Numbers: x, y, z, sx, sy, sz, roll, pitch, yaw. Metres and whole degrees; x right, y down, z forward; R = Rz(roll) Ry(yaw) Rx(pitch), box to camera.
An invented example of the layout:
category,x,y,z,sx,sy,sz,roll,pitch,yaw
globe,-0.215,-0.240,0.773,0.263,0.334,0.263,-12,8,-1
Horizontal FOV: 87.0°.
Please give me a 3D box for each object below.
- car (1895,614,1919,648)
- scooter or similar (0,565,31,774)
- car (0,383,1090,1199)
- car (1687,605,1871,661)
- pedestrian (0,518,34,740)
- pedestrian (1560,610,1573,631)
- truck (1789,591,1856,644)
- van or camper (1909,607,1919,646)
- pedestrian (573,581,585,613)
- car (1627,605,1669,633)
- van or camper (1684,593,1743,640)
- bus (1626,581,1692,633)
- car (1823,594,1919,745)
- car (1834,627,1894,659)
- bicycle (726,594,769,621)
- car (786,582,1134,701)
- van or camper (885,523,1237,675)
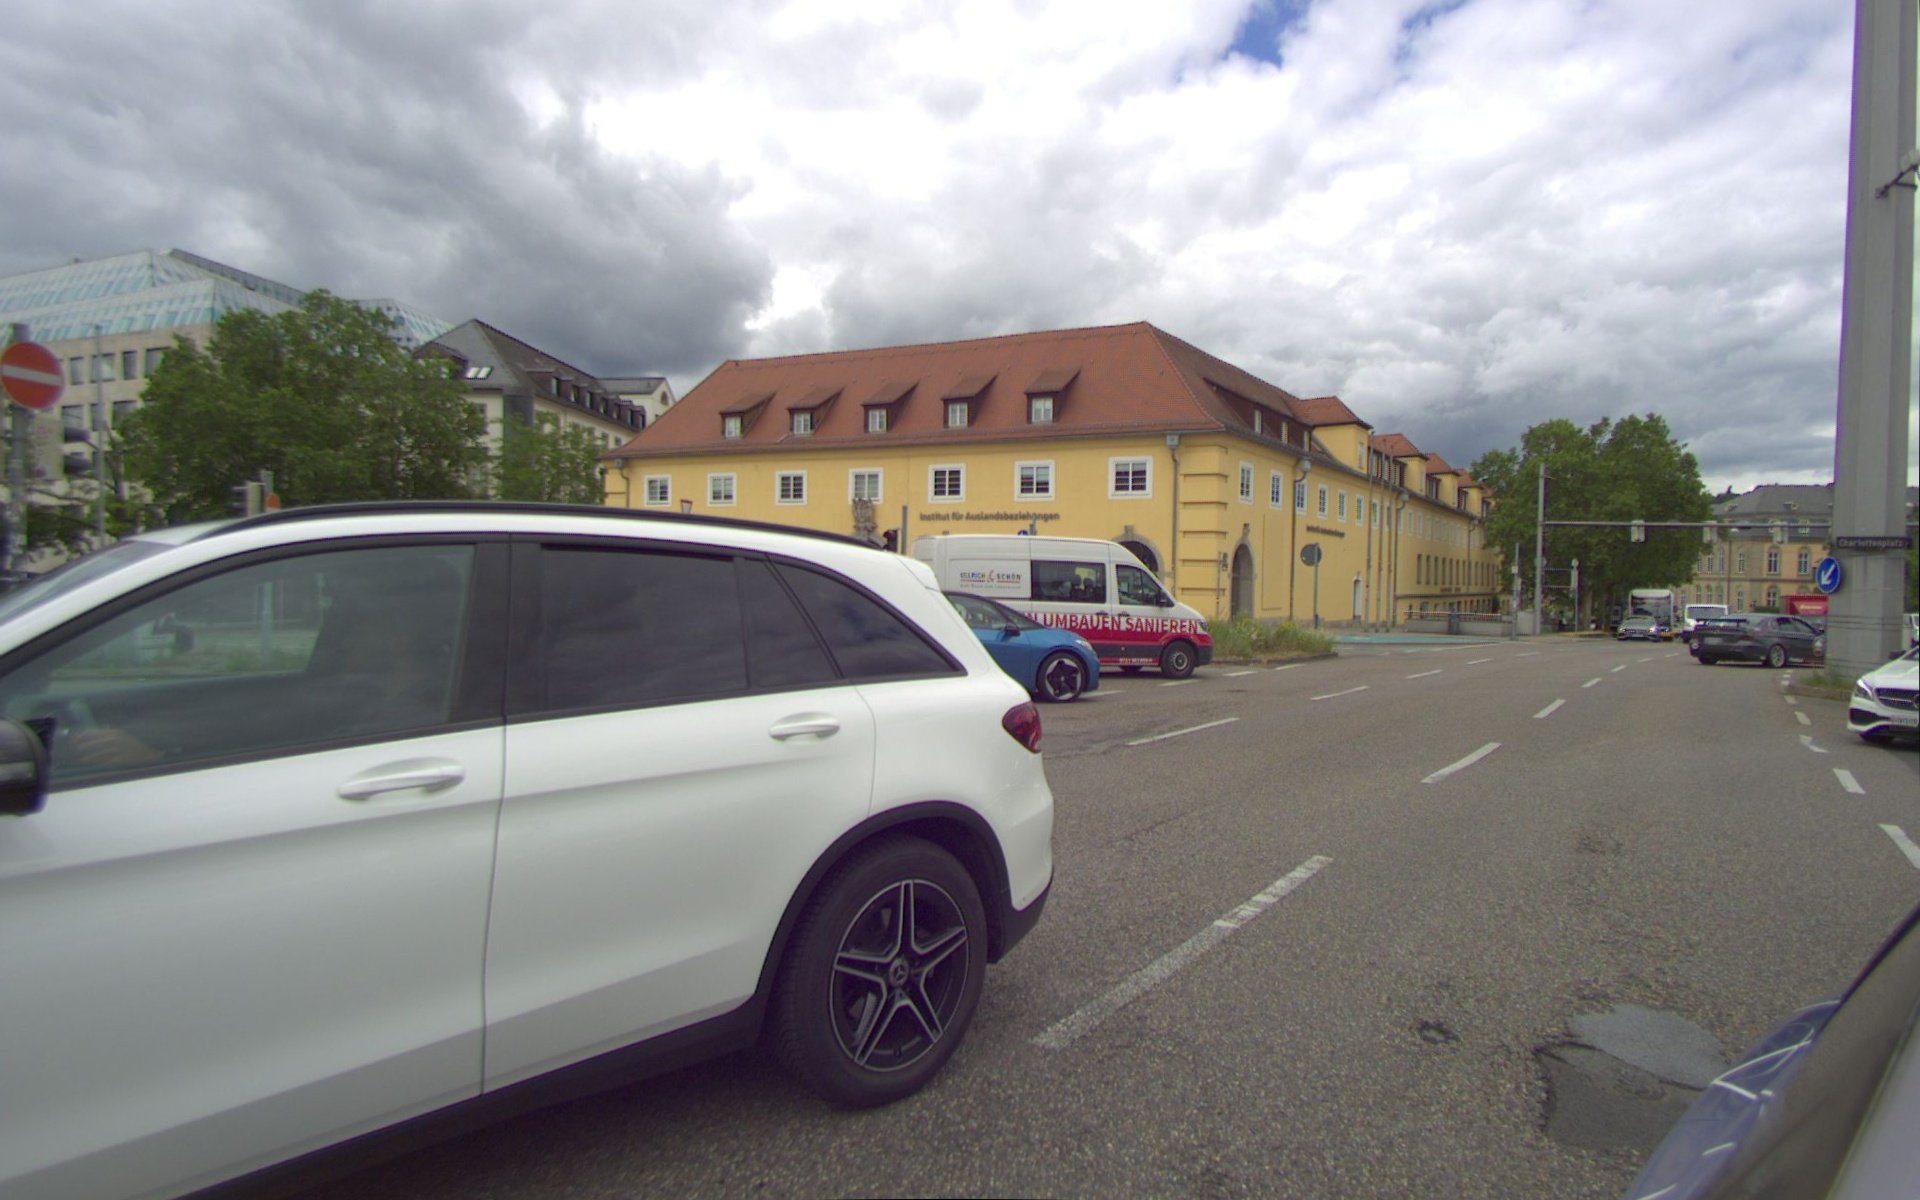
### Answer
category,x,y,z,sx,sy,sz,roll,pitch,yaw
car,52.910,1.715,55.382,1.988,1.776,3.909,3,1,36
scooter or similar,-6.889,0.477,6.151,0.762,1.424,1.889,1,0,-1
car,-1.798,0.472,2.455,4.259,1.667,1.805,2,1,-42
car,21.192,0.838,26.189,4.320,1.350,1.762,1,0,-21
pedestrian,-8.821,0.254,8.986,0.598,1.979,0.643,1,0,-6
pedestrian,41.082,1.376,68.510,0.677,1.397,0.572,3,1,34
truck,61.803,1.211,72.692,2.775,3.533,8.243,3,1,35
van or camper,49.774,1.387,51.246,1.855,1.940,4.653,2,1,36
pedestrian,-19.828,-0.166,52.651,0.482,1.610,0.555,1,0,-16
car,38.001,1.015,55.885,1.818,1.426,3.949,3,1,35
van or camper,41.004,0.868,55.005,2.364,2.290,6.199,3,1,38
bus,48.864,0.473,71.034,3.412,3.243,12.904,3,1,33
car,12.296,0.788,11.595,4.555,1.589,1.875,1,1,-24
car,46.018,2.171,51.572,1.729,1.417,3.666,3,1,34
bicycle,-9.110,0.309,43.356,1.753,1.099,0.616,2,0,25
car,-0.043,0.571,14.304,4.530,1.502,1.953,1,-1,-17
van or camper,1.839,0.039,18.629,6.031,2.509,2.151,1,0,-17
